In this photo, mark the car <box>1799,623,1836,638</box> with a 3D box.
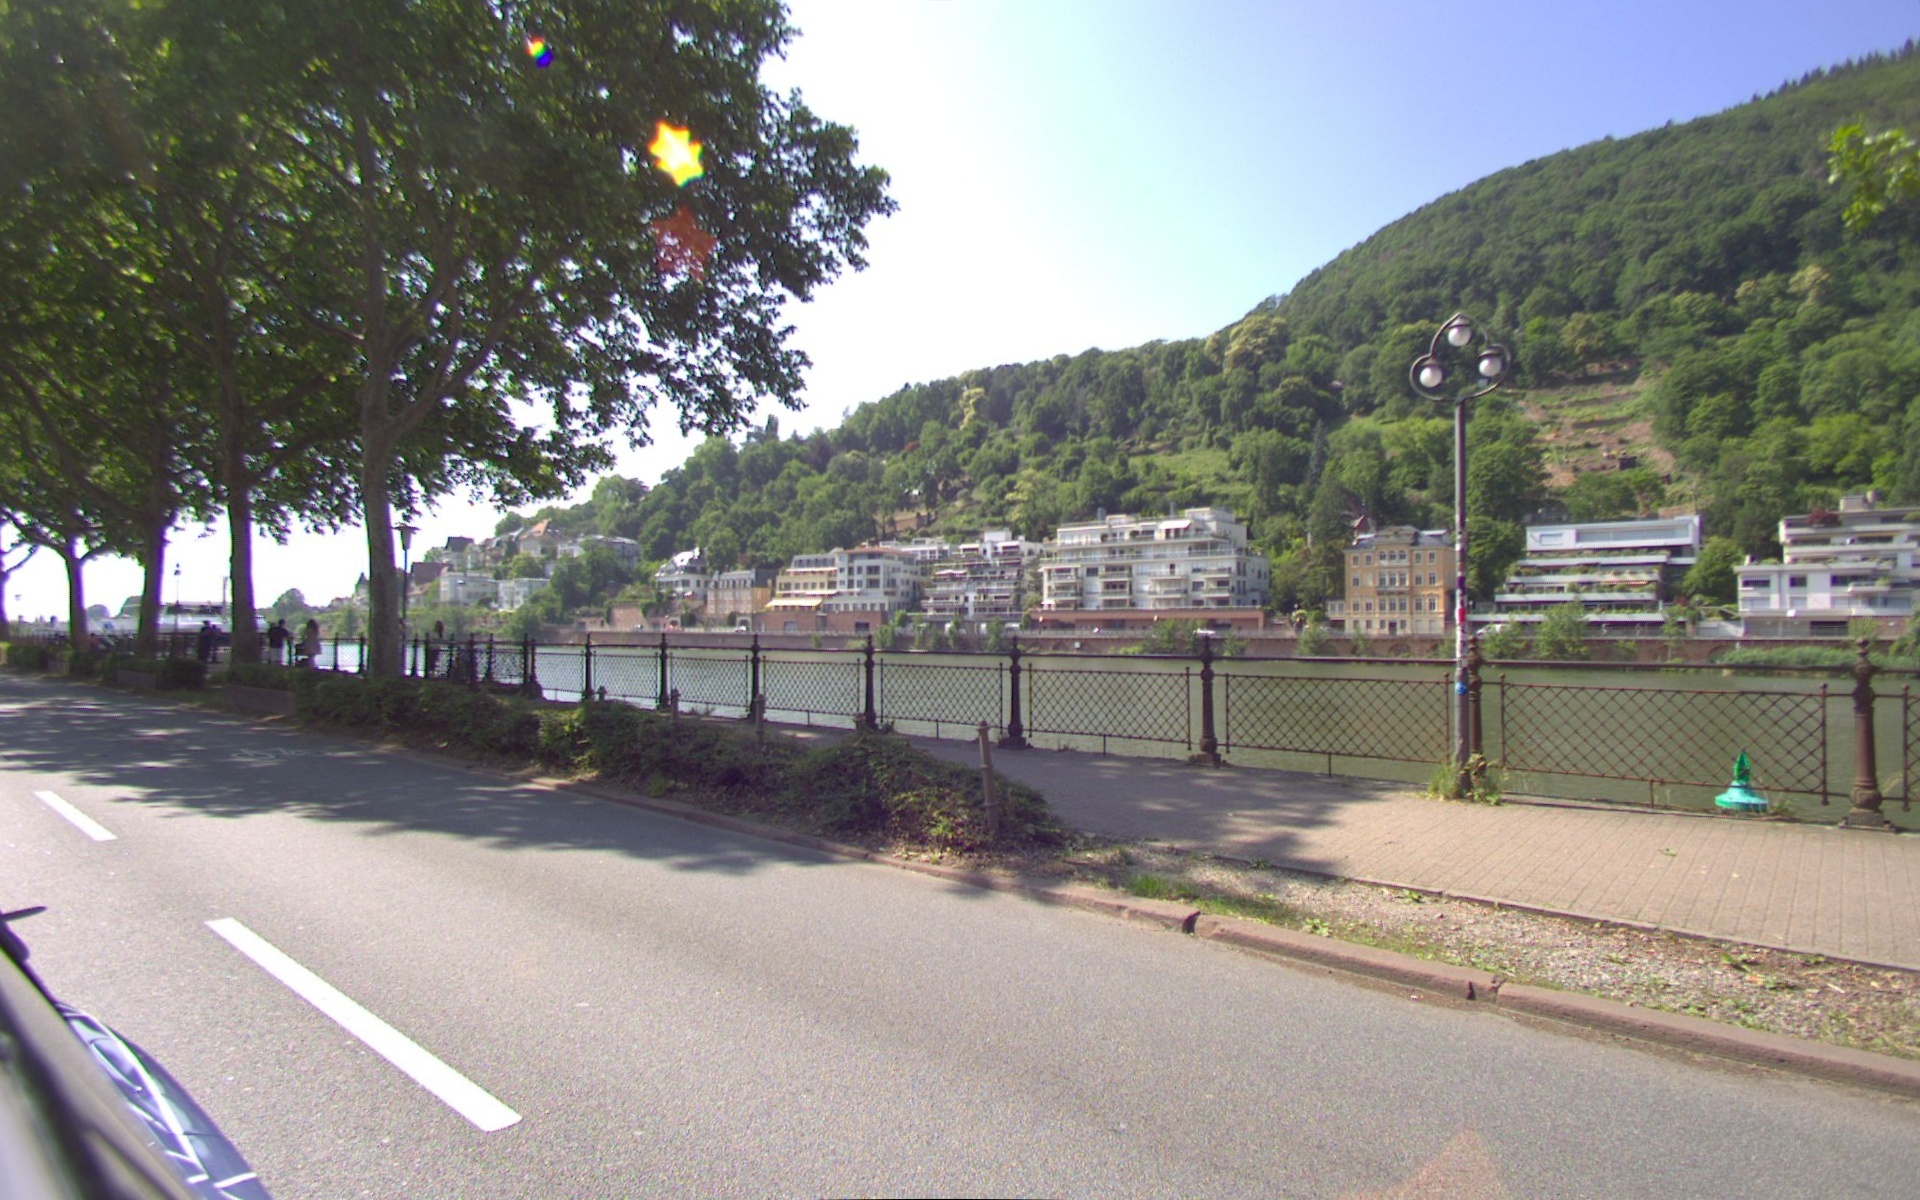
[{"bbox_3d":[125.328,4.497,147.907,3.998,2.029,1.973,-3,-1,41],"label":"car"}]

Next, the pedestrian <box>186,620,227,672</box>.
[{"bbox_3d":[-30.371,1.828,40.807,1.032,2.029,1.038,-1,0,-19],"label":"pedestrian"}]

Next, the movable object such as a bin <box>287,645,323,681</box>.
[{"bbox_3d":[-20.213,1.923,31.219,0.782,1.057,0.696,-1,0,36],"label":"movable object such as a bin"}]

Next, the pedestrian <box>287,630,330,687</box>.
[{"bbox_3d":[-19.654,1.747,30.531,0.885,1.647,1.060,-1,0,-44],"label":"pedestrian"}]

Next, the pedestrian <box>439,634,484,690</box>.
[{"bbox_3d":[-12.673,1.564,25.738,0.770,1.398,0.758,-2,-3,40],"label":"pedestrian"}]

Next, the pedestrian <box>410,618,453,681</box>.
[{"bbox_3d":[-15.105,1.413,28.924,0.829,1.771,0.767,-2,-4,40],"label":"pedestrian"}]

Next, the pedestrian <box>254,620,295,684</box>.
[{"bbox_3d":[-20.505,1.533,30.275,0.928,1.863,0.796,-1,0,41],"label":"pedestrian"}]
